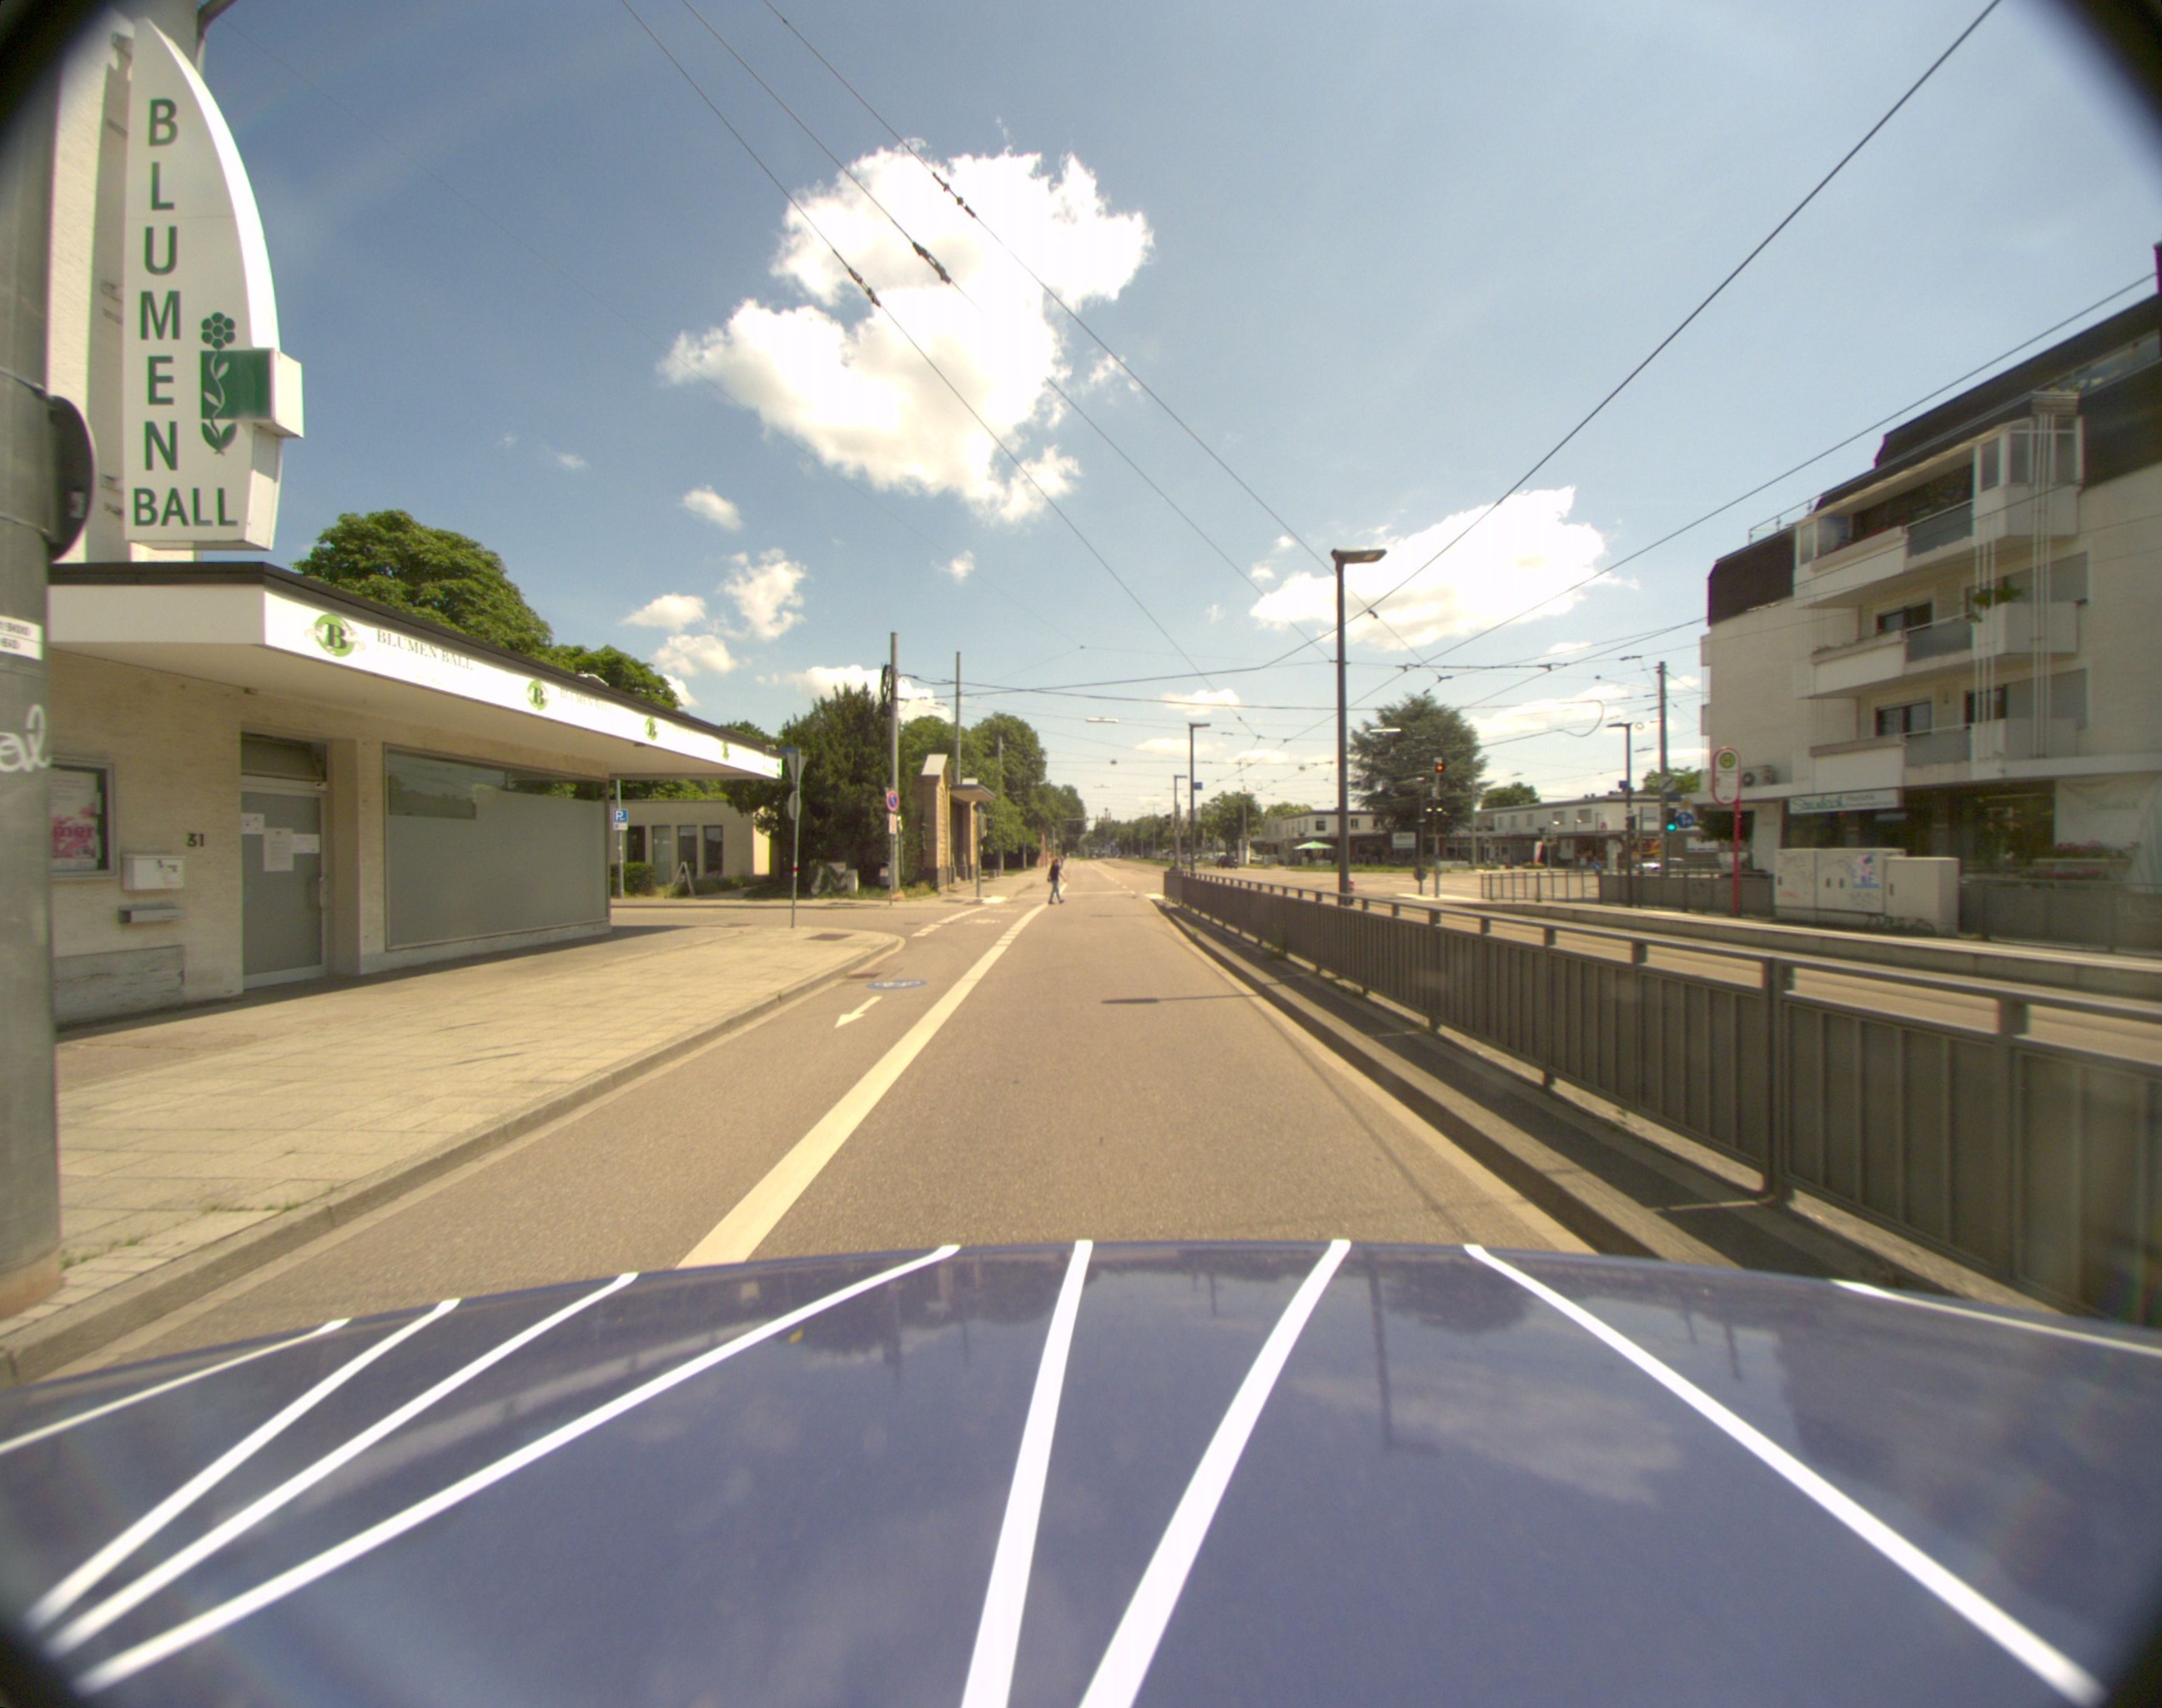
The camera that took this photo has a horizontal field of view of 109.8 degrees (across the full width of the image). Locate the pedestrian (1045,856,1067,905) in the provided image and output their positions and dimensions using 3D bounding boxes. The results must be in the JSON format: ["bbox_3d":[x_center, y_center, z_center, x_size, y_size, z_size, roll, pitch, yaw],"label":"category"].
[{"bbox_3d":[-0.818,0.856,24.931,0.578,1.547,0.786,3,1,3],"label":"pedestrian"}]

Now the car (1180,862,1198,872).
[{"bbox_3d":[16.393,2.017,115.825,1.999,1.463,4.401,1,0,-1],"label":"car"}]

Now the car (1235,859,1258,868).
[{"bbox_3d":[44.989,2.558,206.705,5.698,2.467,2.259,1,0,-3],"label":"car"}]

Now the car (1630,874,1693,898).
[{"bbox_3d":[49.947,2.735,65.454,3.850,1.715,1.900,3,1,1],"label":"car"}]

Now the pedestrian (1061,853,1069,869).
[{"bbox_3d":[-1.804,0.782,84.341,0.767,1.841,0.717,1,0,-3],"label":"pedestrian"}]

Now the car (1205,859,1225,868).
[{"bbox_3d":[29.938,2.152,170.033,3.997,1.726,1.803,3,1,1],"label":"car"}]

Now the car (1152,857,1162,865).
[{"bbox_3d":[20.753,1.874,207.489,2.072,2.089,4.488,-1,1,-2],"label":"car"}]

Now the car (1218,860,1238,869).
[{"bbox_3d":[31.779,2.218,164.388,3.997,1.726,1.903,1,0,1],"label":"car"}]

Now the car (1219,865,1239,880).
[{"bbox_3d":[17.126,2.117,88.019,1.727,1.673,4.281,1,0,5],"label":"car"}]

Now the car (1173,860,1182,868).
[{"bbox_3d":[20.168,2.097,159.245,1.503,1.530,4.359,-1,0,1],"label":"car"}]
